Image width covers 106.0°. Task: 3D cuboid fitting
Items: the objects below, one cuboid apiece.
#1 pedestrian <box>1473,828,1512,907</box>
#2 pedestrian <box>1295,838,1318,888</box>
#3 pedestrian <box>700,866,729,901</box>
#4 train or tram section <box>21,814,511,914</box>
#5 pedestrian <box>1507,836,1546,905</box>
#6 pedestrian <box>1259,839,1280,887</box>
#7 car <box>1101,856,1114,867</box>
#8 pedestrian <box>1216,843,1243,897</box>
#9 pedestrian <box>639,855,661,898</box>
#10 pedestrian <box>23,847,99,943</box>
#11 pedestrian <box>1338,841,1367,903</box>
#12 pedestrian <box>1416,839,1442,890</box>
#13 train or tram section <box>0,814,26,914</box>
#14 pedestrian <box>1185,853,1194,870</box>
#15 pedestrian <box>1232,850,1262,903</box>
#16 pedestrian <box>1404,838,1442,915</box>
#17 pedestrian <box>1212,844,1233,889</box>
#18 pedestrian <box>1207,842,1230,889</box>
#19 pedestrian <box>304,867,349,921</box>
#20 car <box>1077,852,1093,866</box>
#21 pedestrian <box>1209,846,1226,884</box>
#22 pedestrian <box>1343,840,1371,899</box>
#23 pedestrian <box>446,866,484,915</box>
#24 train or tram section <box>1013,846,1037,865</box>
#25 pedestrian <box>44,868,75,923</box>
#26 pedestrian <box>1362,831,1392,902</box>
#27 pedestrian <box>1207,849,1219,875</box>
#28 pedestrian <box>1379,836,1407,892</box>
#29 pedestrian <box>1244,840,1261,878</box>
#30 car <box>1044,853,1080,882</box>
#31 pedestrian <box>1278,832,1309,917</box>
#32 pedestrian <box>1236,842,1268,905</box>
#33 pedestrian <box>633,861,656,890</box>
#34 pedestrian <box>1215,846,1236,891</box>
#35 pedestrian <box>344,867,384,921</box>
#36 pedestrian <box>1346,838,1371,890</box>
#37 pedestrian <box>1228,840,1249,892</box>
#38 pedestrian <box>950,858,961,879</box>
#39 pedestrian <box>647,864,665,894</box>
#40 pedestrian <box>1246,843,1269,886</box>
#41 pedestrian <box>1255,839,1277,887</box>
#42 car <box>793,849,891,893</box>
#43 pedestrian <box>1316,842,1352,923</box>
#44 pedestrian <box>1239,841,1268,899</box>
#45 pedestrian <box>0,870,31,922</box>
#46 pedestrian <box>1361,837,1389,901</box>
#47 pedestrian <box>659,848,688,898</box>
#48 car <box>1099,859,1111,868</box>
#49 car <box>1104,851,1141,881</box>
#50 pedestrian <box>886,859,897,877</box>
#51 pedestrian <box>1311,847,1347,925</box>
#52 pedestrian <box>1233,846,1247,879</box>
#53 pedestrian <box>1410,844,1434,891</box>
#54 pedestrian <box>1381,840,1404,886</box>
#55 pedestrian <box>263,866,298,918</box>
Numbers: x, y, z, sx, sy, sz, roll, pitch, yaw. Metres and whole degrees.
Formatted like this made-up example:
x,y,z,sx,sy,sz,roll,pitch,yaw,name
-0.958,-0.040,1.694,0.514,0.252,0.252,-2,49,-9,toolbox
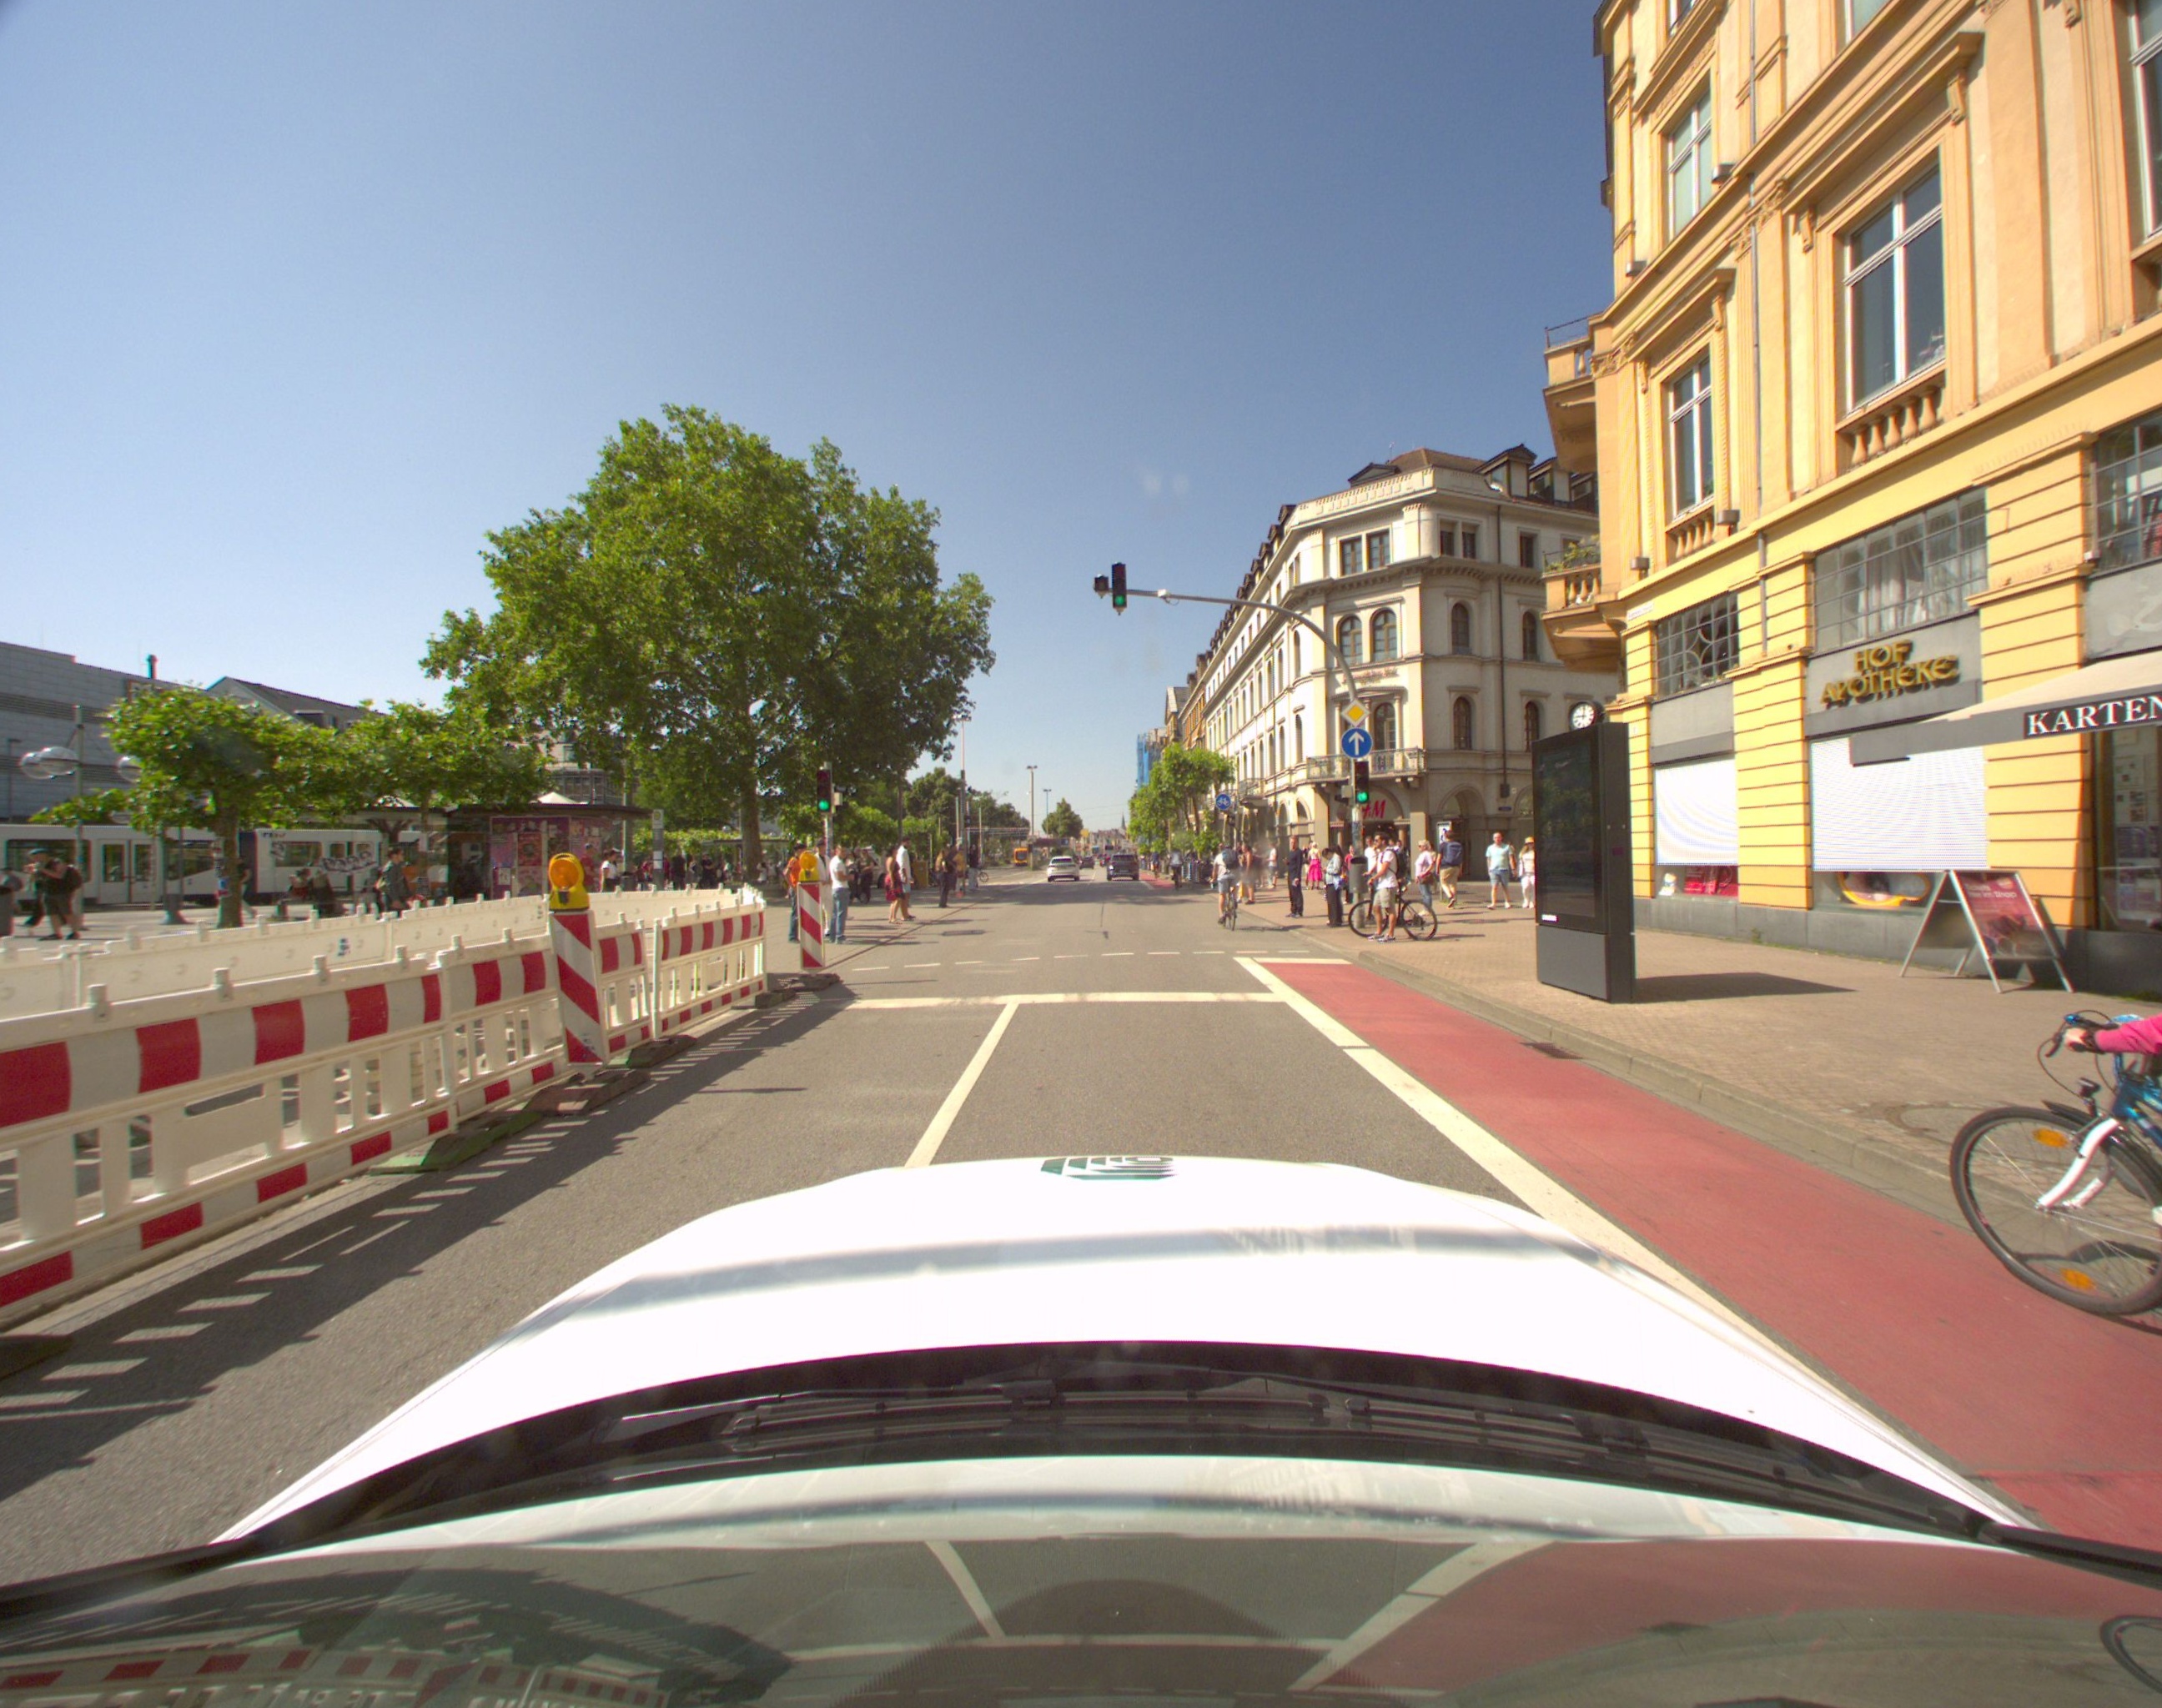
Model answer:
x,y,z,sx,sy,sz,roll,pitch,yaw,name
9.554,0.311,18.903,0.554,1.801,0.581,-1,-1,-43,pedestrian
8.337,0.319,30.137,0.608,1.823,0.677,-1,-1,0,pedestrian
-13.736,1.101,30.510,0.627,1.293,0.735,-1,-1,22,pedestrian
-35.674,0.325,37.325,2.587,3.676,15.647,-1,0,35,train or tram section
10.257,0.376,18.743,0.554,1.569,0.581,-1,-1,-43,pedestrian
7.240,0.354,31.274,0.608,1.807,0.677,-1,-1,0,pedestrian
3.716,1.033,114.924,1.839,1.413,4.001,-1,0,1,car
4.920,0.532,27.029,0.608,1.739,0.677,-5,-1,0,pedestrian
-16.364,0.860,30.953,0.494,1.603,0.501,-3,-2,21,pedestrian
-19.345,0.756,15.450,0.598,1.749,0.809,0,-1,33,pedestrian
7.281,0.486,21.844,0.521,1.611,0.642,-2,-1,2,pedestrian
11.900,0.348,27.858,0.539,1.716,0.677,0,-1,-3,pedestrian
-43.503,0.410,26.551,2.587,3.676,11.072,-1,0,37,train or tram section
9.810,0.660,73.746,0.673,1.572,0.612,-1,-1,0,pedestrian
4.956,0.658,24.318,0.608,1.515,0.677,-5,-1,0,pedestrian
7.432,0.485,17.729,0.546,1.640,0.589,-2,-1,4,pedestrian
5.528,0.479,31.866,0.581,1.700,0.605,-4,-1,0,pedestrian
5.787,0.470,34.278,0.681,1.898,0.615,-4,-1,28,pedestrian
-18.363,0.962,19.827,0.611,1.262,0.609,-1,0,-20,pedestrian
0.541,0.596,99.129,1.839,1.560,4.001,-1,0,1,car
5.951,0.490,35.450,0.525,1.594,0.615,-1,2,28,pedestrian
7.718,0.425,22.765,0.521,1.609,0.642,-2,-1,2,pedestrian
-16.379,0.963,21.657,0.605,1.262,0.615,-1,0,28,pedestrian
-10.102,0.220,147.217,2.600,3.348,11.018,-1,0,5,train or tram section
-33.216,1.342,26.493,0.737,1.749,0.610,-1,0,40,pedestrian
7.804,0.331,21.498,0.521,1.823,0.642,-2,-1,2,pedestrian
8.514,0.541,52.634,0.673,1.665,0.612,-1,-1,0,pedestrian
10.436,0.329,27.247,0.673,1.855,0.541,-1,-1,-1,pedestrian
8.319,0.243,39.483,0.673,1.791,0.612,-1,-1,1,pedestrian
-1.052,0.749,47.816,1.838,1.560,4.002,-2,0,2,car
4.898,0.471,18.828,0.520,1.898,0.642,-2,-1,5,pedestrian
4.956,0.559,23.590,0.669,1.769,0.677,-4,-1,0,pedestrian
-23.495,1.164,43.854,0.738,1.514,0.739,-1,0,15,pedestrian
5.542,0.538,31.191,0.581,1.673,0.605,-4,-1,0,pedestrian
-17.478,0.960,19.858,0.605,1.262,0.615,-1,0,37,pedestrian
9.680,0.352,28.452,0.608,1.807,0.677,-1,-1,0,pedestrian
5.668,0.425,29.364,0.608,1.823,0.677,-1,-1,0,pedestrian
-9.606,1.112,62.383,0.768,1.629,0.612,-1,-1,1,pedestrian
-22.478,1.315,43.101,0.603,1.514,0.745,-1,0,-5,pedestrian
7.187,0.415,33.173,0.613,1.705,0.672,-2,0,-27,pedestrian
7.275,0.359,32.046,0.608,1.807,0.677,-4,-1,0,pedestrian
-11.236,0.760,38.715,1.843,1.955,4.786,-1,-1,23,car
5.255,0.579,16.944,0.546,1.631,0.589,-2,-1,4,pedestrian
5.435,0.496,25.674,0.608,1.759,0.677,-5,-1,0,pedestrian
-36.685,1.437,28.048,0.793,1.749,0.610,-1,0,40,pedestrian
7.963,0.410,22.094,0.521,1.702,0.536,-2,-1,1,pedestrian
-14.941,0.688,29.849,0.627,1.810,0.618,-4,-2,21,pedestrian
3.764,1.445,126.710,1.839,1.413,4.001,-1,0,1,car
2.364,0.666,46.886,1.840,1.559,4.000,-3,0,0,car
-17.648,1.311,75.939,0.704,1.707,0.658,-1,-1,17,pedestrian
4.957,0.625,16.306,0.520,1.521,0.642,-2,-1,5,pedestrian
8.734,0.475,44.644,0.626,1.791,0.612,-1,-1,1,pedestrian
11.993,0.479,28.624,0.538,1.633,0.677,0,-1,0,pedestrian
12.218,0.361,31.973,0.608,1.764,0.677,-1,-1,0,pedestrian
-20.248,0.946,20.606,0.616,1.262,0.604,-1,0,-43,pedestrian
